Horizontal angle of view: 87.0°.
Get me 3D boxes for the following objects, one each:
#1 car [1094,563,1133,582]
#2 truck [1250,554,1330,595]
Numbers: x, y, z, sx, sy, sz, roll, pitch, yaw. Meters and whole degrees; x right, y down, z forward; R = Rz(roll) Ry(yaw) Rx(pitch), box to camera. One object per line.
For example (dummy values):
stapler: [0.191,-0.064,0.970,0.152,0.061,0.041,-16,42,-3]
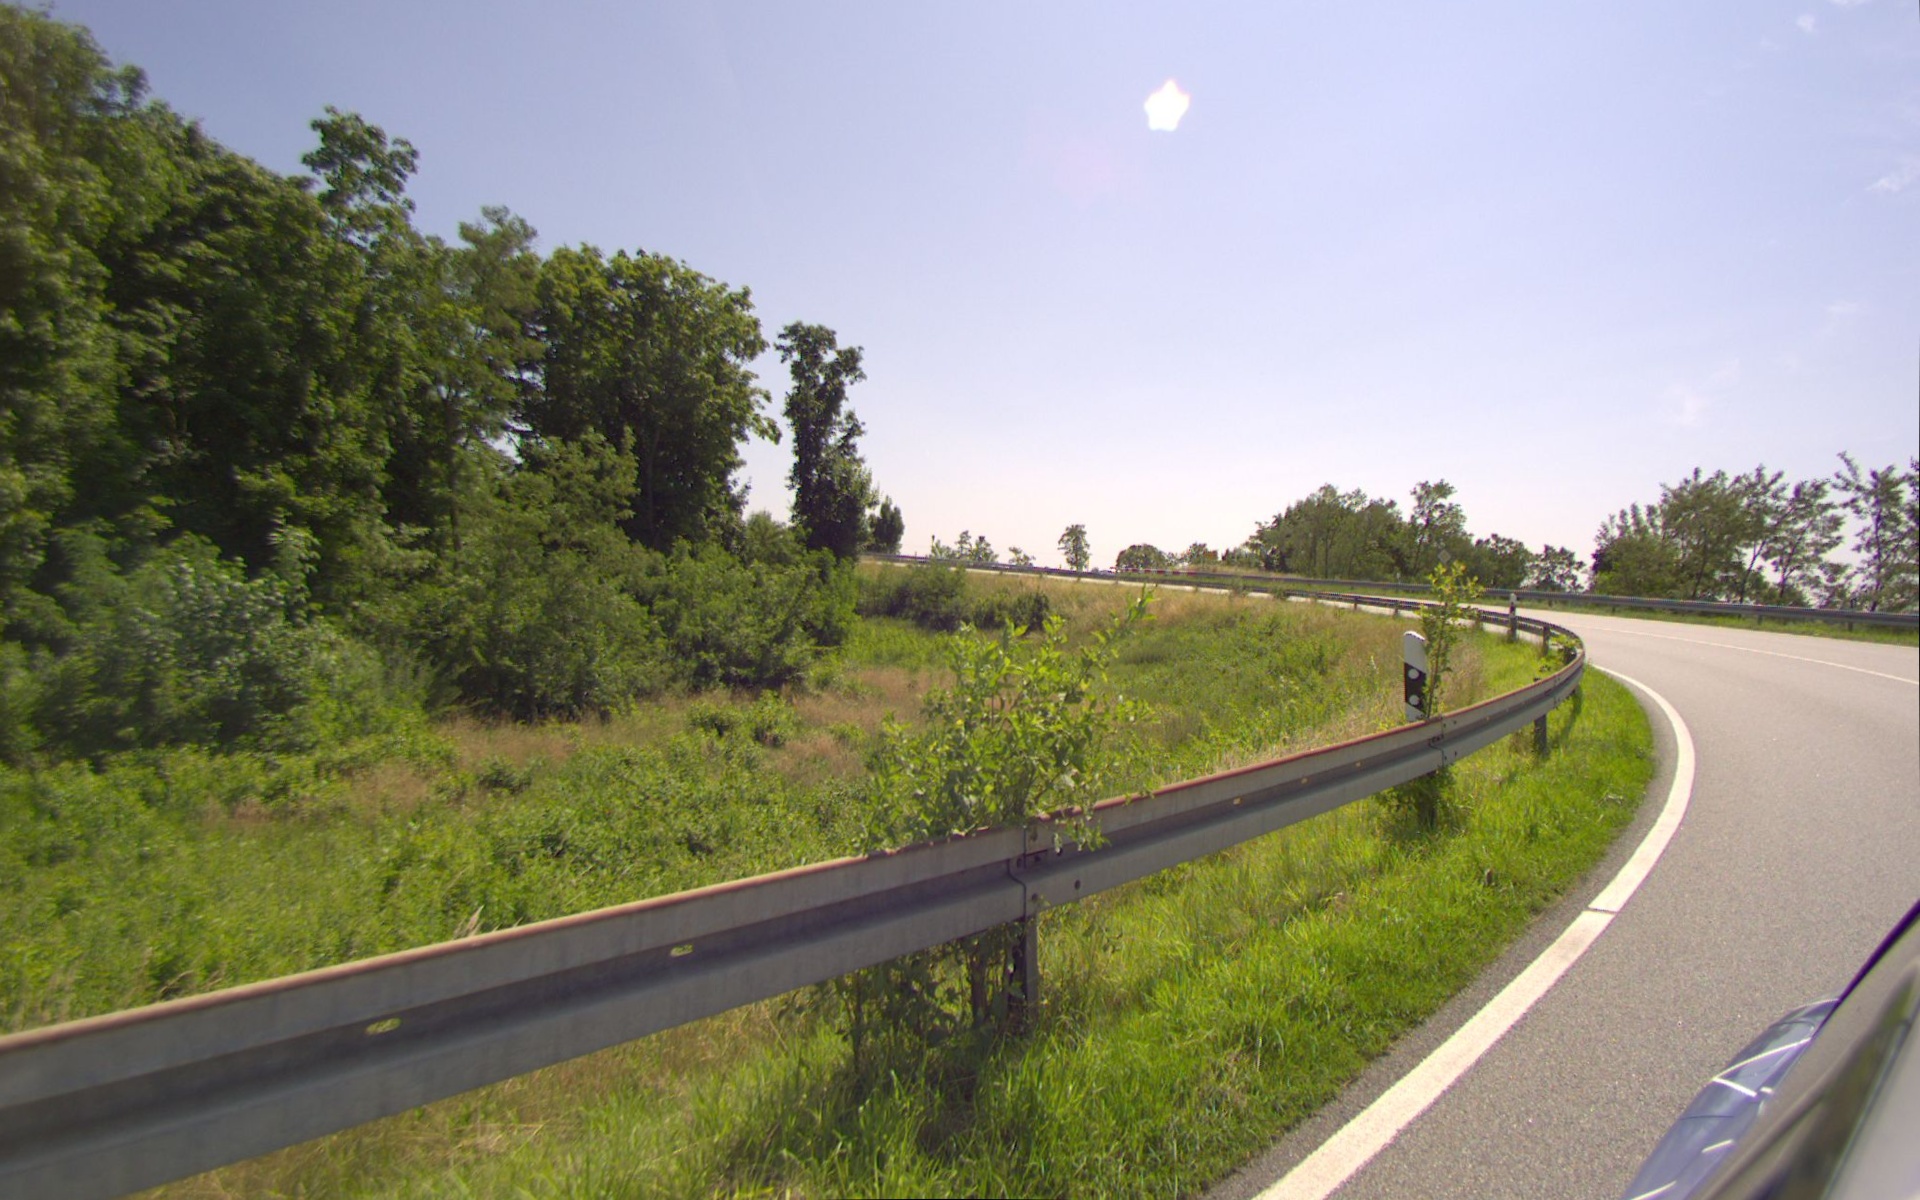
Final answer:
car: [15.385,-2.711,101.366,4.040,1.434,1.809,5,-6,-43]
truck: [37.559,-2.816,115.034,9.746,3.718,2.824,5,-5,-30]
